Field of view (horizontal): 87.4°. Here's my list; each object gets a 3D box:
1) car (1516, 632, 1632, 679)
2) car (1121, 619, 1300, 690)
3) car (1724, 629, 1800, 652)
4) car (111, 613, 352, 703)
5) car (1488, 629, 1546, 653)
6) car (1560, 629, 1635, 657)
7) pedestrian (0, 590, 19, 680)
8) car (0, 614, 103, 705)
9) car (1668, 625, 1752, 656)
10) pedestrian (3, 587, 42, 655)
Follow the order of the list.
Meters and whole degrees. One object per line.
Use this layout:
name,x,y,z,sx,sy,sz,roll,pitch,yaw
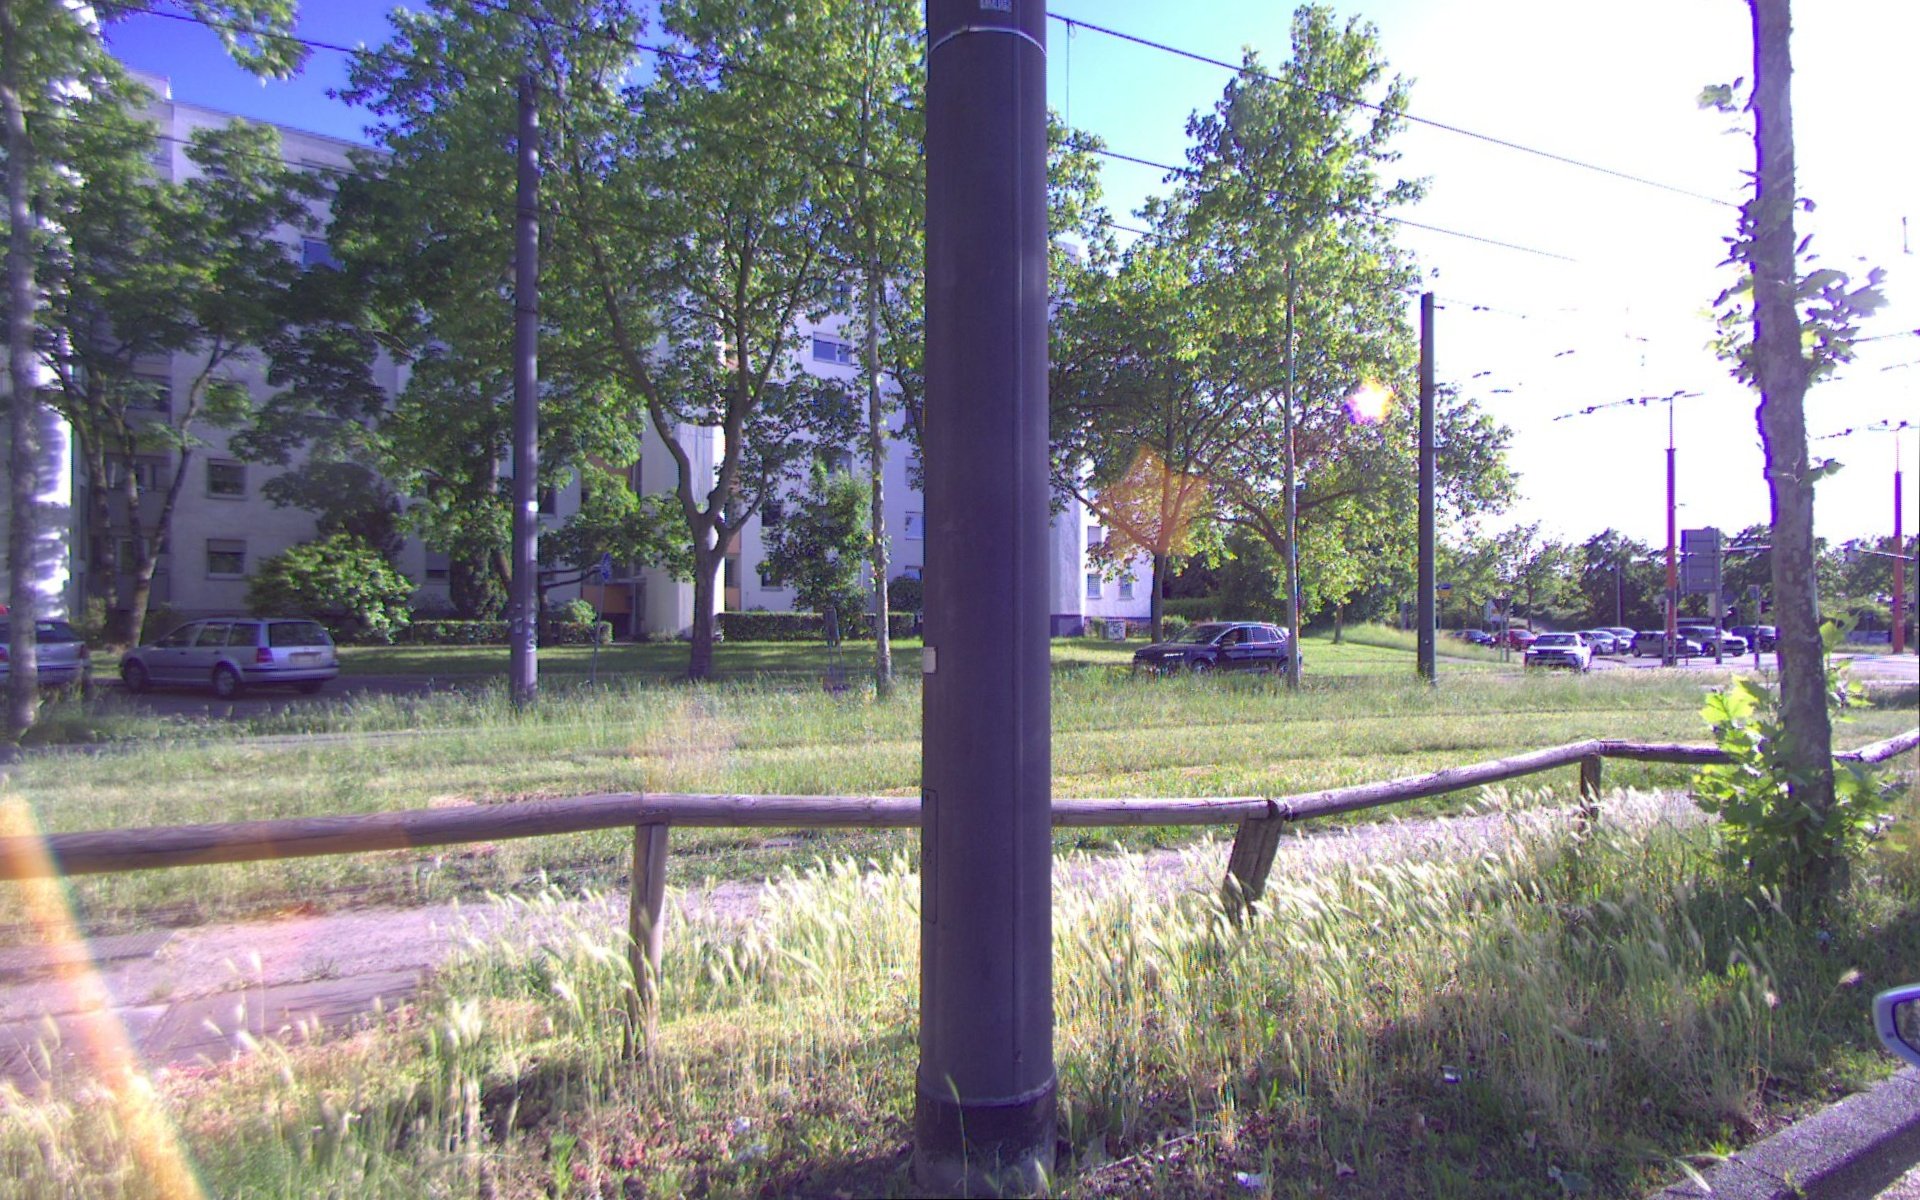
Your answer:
car,22.063,1.959,36.067,4.280,1.543,1.797,1,-1,-31
car,5.968,1.251,23.807,4.054,1.532,1.756,1,-1,-30
car,49.613,2.476,62.234,1.664,1.347,4.001,1,-1,2
car,-13.744,1.029,18.982,3.898,1.462,1.710,1,0,18
car,39.323,2.884,71.021,1.699,1.533,3.998,1,-1,-4
car,39.845,2.655,62.880,1.833,1.633,4.185,1,-1,-4
pedestrian,-19.453,0.694,20.083,0.746,1.780,0.757,1,-1,-29
car,-17.120,0.976,17.607,3.547,1.439,1.576,1,0,18
car,43.384,2.319,58.245,1.960,1.666,4.001,1,-1,2
pedestrian,-24.867,0.553,26.645,0.628,1.780,0.518,1,-1,-32
